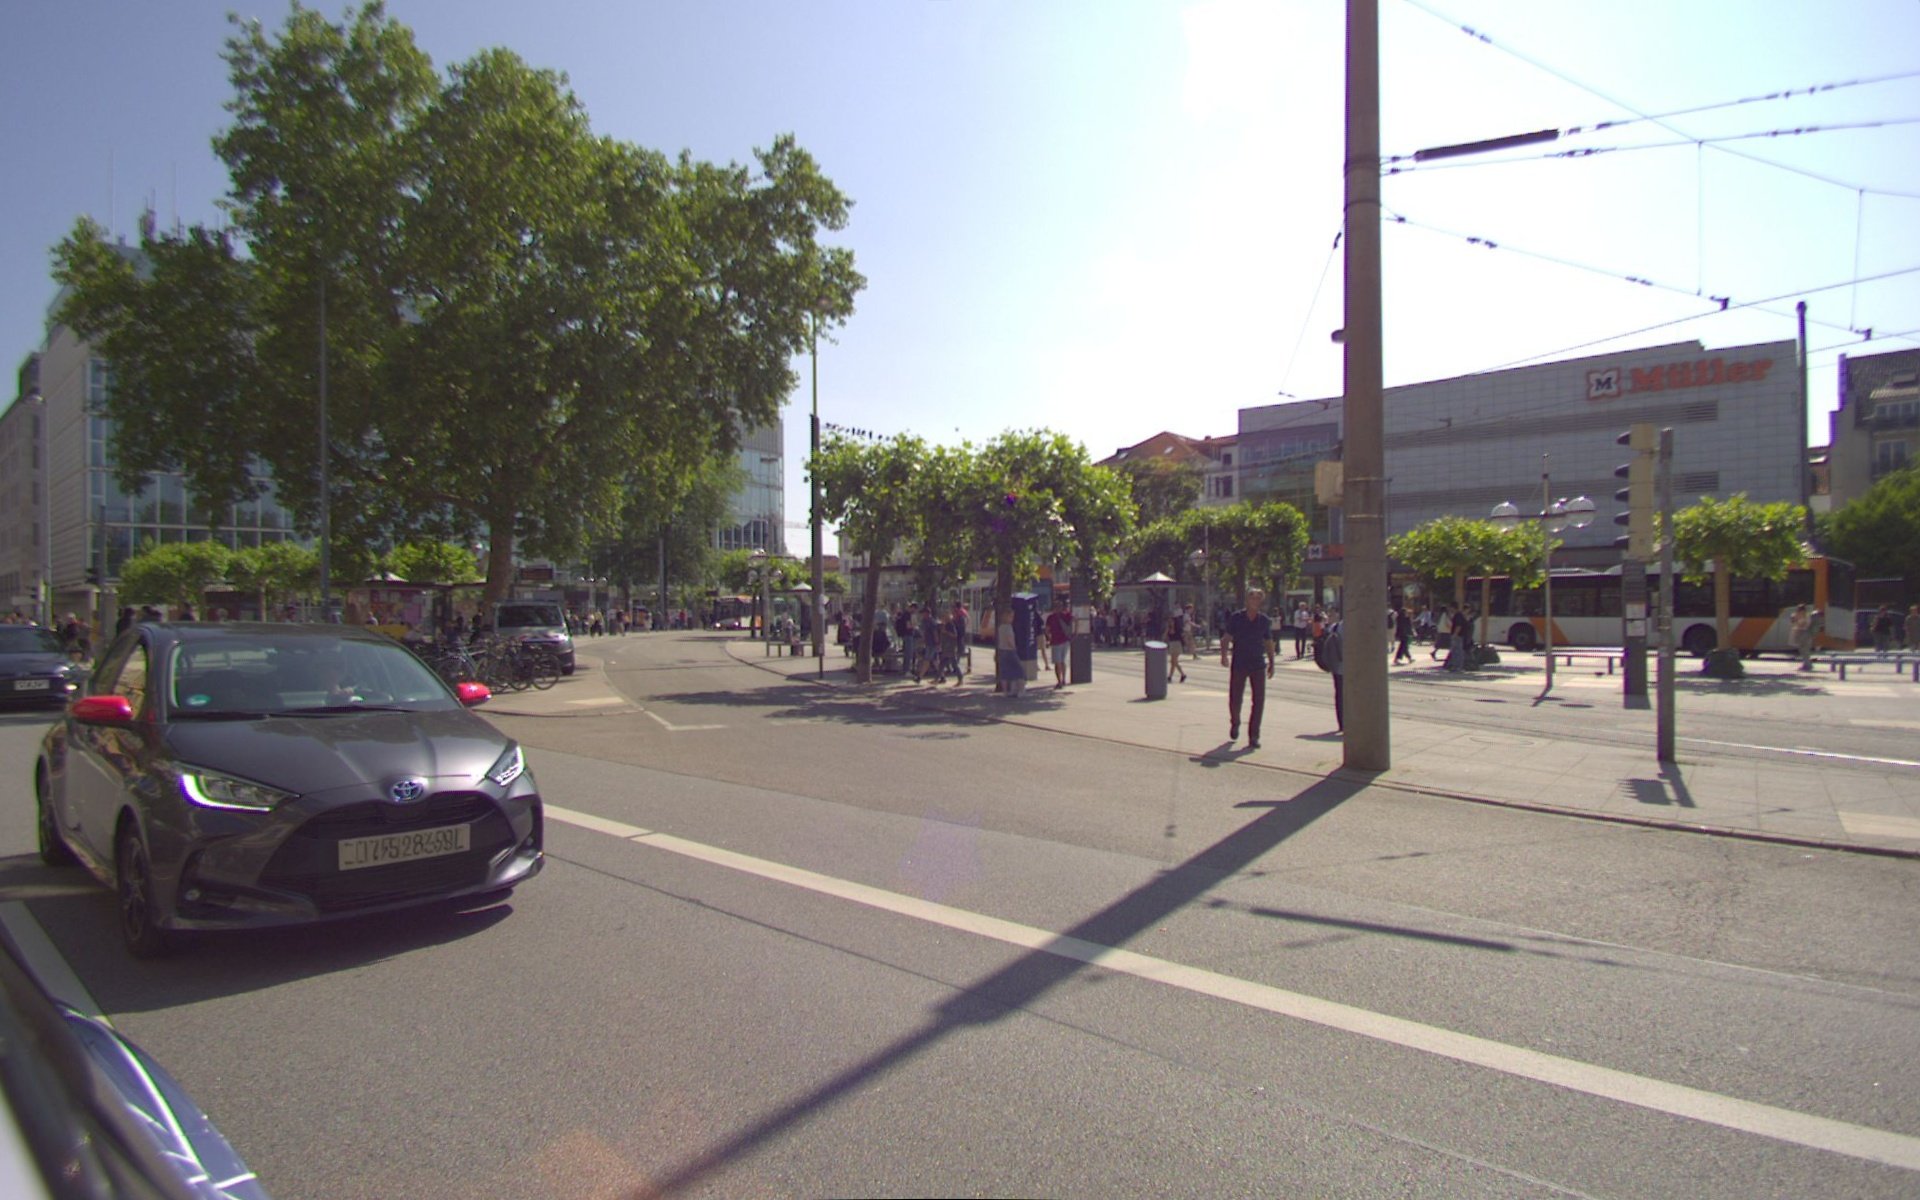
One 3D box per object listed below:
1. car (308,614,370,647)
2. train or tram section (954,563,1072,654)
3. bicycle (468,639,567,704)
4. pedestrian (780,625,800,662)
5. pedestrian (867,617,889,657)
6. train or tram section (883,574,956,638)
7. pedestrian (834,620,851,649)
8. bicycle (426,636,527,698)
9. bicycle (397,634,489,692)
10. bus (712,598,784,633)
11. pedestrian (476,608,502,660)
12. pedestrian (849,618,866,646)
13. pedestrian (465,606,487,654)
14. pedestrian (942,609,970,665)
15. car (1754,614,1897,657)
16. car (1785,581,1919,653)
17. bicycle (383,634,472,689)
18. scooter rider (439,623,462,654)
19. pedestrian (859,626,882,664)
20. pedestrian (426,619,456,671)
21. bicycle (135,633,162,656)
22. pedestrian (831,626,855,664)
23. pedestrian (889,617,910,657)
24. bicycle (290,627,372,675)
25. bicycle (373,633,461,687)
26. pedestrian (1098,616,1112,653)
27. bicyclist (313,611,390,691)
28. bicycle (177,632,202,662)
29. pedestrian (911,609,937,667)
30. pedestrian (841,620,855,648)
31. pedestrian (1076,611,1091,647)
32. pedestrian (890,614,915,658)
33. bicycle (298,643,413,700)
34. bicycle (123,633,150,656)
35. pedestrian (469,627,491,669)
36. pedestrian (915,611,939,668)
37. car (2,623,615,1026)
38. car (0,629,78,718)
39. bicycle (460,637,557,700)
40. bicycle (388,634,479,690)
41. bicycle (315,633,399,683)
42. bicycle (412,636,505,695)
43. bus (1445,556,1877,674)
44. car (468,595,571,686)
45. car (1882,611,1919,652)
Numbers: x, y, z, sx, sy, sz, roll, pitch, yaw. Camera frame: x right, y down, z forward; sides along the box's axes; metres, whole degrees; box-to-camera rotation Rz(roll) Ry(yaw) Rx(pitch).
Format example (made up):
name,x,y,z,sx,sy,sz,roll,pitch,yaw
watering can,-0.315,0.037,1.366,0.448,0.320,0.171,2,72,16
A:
name,x,y,z,sx,sy,sz,roll,pitch,yaw
car,-40.781,1.993,66.436,3.990,2.029,1.977,-1,1,34
train or tram section,2.304,0.356,48.493,2.578,3.856,9.547,-2,1,-16
bicycle,-8.624,1.371,19.776,0.482,1.156,1.735,-1,-1,39
pedestrian,-5.976,1.514,35.595,0.483,1.262,0.491,-1,0,39
pedestrian,-3.191,1.450,39.553,0.669,1.561,0.580,2,-4,-28
train or tram section,-2.810,0.345,66.703,2.578,3.856,9.547,-2,1,-16
pedestrian,-6.127,1.777,52.740,0.547,1.483,0.759,-2,0,-42
bicycle,-9.864,1.343,20.707,0.482,1.156,1.842,-1,-1,39
bicycle,-11.178,1.340,21.932,0.482,1.156,1.735,-1,-1,39
bus,-19.199,1.329,92.733,2.363,2.811,12.152,-2,1,9
pedestrian,-16.238,1.183,34.884,0.611,1.760,0.532,-2,0,31
pedestrian,-5.584,1.753,55.185,0.547,1.483,0.759,-2,0,-42
pedestrian,-17.966,1.122,37.560,0.547,1.740,0.492,-2,0,-42
pedestrian,-0.120,1.199,32.465,0.578,1.791,0.670,-3,-5,44
car,33.131,1.350,38.899,3.991,1.519,1.740,-1,1,35
car,38.271,0.703,42.529,5.387,2.909,1.936,-1,0,35
bicycle,-12.000,1.358,22.835,0.482,1.156,1.735,-1,-1,39
scooter rider,-14.558,1.090,28.937,0.499,0.845,0.350,-2,0,-16
pedestrian,-2.927,1.463,33.010,0.524,1.211,0.539,-2,-4,29
pedestrian,-15.075,1.301,29.411,0.570,1.472,0.788,-2,0,-16
bicycle,-41.416,2.269,51.667,1.753,1.156,0.586,-1,-1,34
pedestrian,-3.895,1.496,33.791,0.552,1.243,0.572,-2,-4,29
pedestrian,-2.372,1.445,39.659,0.669,1.561,0.580,1,-4,-15
bicycle,-16.108,1.294,25.962,0.482,1.156,1.735,-1,-1,39
bicycle,-12.489,1.369,23.326,0.482,1.156,1.735,-1,-1,39
pedestrian,6.345,1.516,44.257,0.573,1.561,0.677,-1,-4,14
bicyclist,-12.107,0.995,20.136,1.156,1.509,0.823,-2,0,31
bicycle,-32.035,1.951,42.091,0.718,1.152,1.917,-2,1,-35
pedestrian,-1.130,1.207,31.669,0.568,1.791,0.682,2,-4,-28
pedestrian,-5.988,1.827,54.210,0.547,1.483,0.457,-2,0,-42
pedestrian,5.459,1.298,44.676,0.573,1.561,0.677,-1,-4,14
pedestrian,-2.042,1.287,35.950,0.657,1.561,0.565,-3,-5,43
bicycle,-12.046,1.390,20.136,2.616,1.030,0.823,-2,0,31
bicycle,-41.718,2.259,51.277,1.753,1.156,0.586,-1,-1,34
pedestrian,-14.336,1.424,30.223,0.493,1.215,0.461,-2,0,-16
pedestrian,-1.099,1.313,33.681,0.568,1.855,0.682,2,-4,-28
car,-3.849,0.883,5.715,3.996,1.486,1.759,-1,-2,39
car,-16.891,1.235,17.749,3.999,1.415,1.677,-1,-1,42
bicycle,-8.982,1.346,20.170,0.482,1.156,1.735,-1,-1,39
bicycle,-11.602,1.349,22.339,0.482,1.156,1.735,-1,-1,39
bicycle,-14.973,1.432,25.170,0.482,1.156,1.735,-1,-1,39
bicycle,-10.605,1.371,21.453,0.482,1.156,1.735,-1,-1,39
bus,23.926,0.458,35.972,3.014,3.445,12.498,-2,1,-30
car,-11.317,0.937,25.802,1.966,2.029,5.083,-2,1,-28
car,37.997,1.182,38.555,3.991,1.519,1.740,-1,1,35
